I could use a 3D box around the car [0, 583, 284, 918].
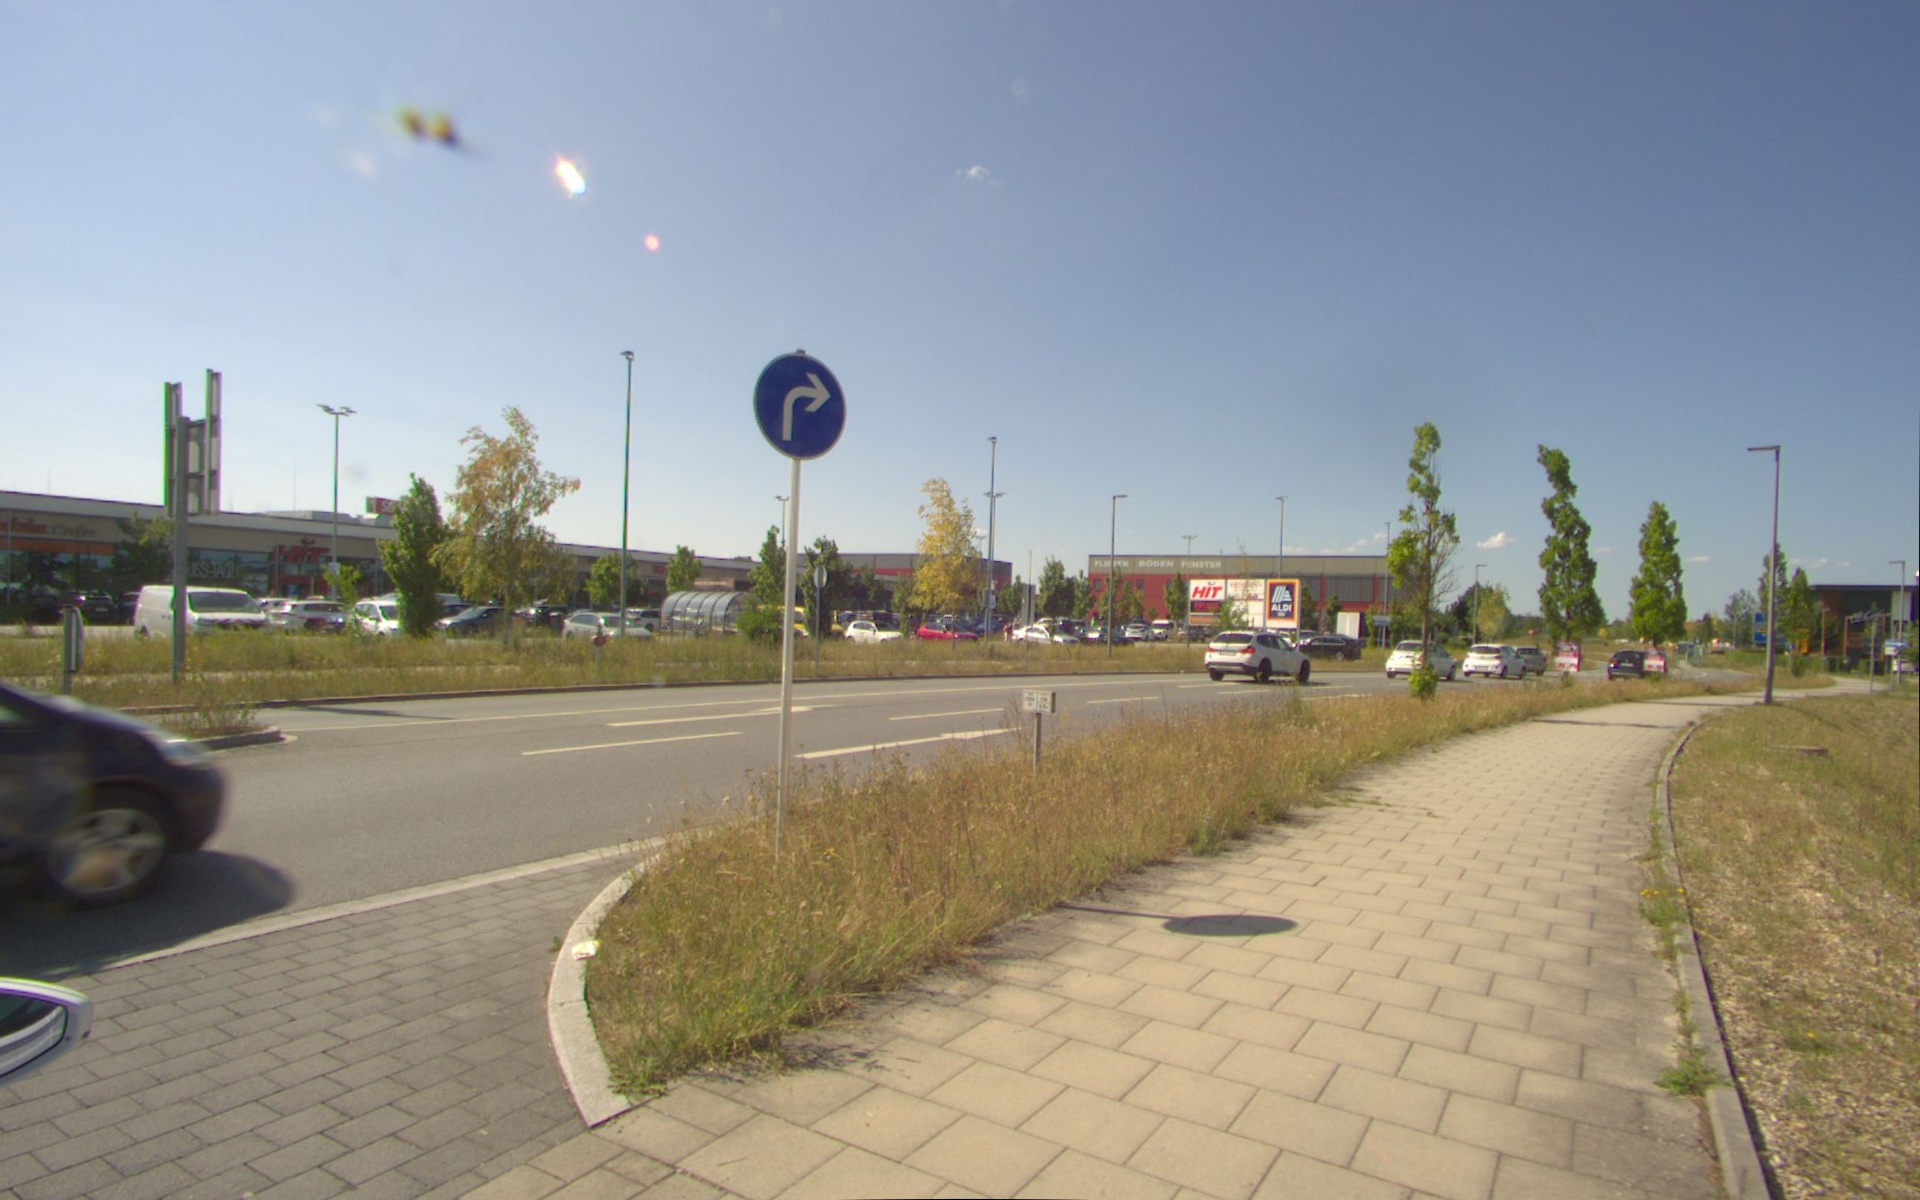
[{"bbox_3d":[-5.703,0.666,4.606,1.970,1.570,3.825,2,-1,31],"label":"car"}]

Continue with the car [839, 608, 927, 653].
[{"bbox_3d":[-3.886,1.514,49.943,4.363,2.039,1.927,1,-1,44],"label":"car"}]

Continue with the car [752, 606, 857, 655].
[{"bbox_3d":[-7.211,1.384,46.168,5.061,2.040,2.146,1,-1,44],"label":"car"}]

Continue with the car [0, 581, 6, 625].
[{"bbox_3d":[-35.015,0.046,33.760,1.704,1.528,3.792,2,-1,27],"label":"car"}]

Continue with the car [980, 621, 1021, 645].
[{"bbox_3d":[3.644,2.996,90.071,1.968,2.064,4.470,1,-1,27],"label":"car"}]

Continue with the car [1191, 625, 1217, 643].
[{"bbox_3d":[28.850,4.063,118.213,1.968,2.064,4.470,1,-1,27],"label":"car"}]

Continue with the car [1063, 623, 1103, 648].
[{"bbox_3d":[10.720,3.111,86.984,1.968,2.064,4.470,1,-1,27],"label":"car"}]

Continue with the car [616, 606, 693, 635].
[{"bbox_3d":[-17.678,1.226,58.091,1.630,1.539,4.333,1,-2,29],"label":"car"}]

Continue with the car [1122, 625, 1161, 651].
[{"bbox_3d":[15.271,3.156,83.955,1.968,2.064,4.470,1,-1,27],"label":"car"}]

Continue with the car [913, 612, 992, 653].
[{"bbox_3d":[-0.454,1.709,53.384,1.865,2.039,4.097,3,-1,-44],"label":"car"}]

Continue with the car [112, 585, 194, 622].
[{"bbox_3d":[-41.248,0.164,51.157,3.940,1.729,1.991,2,0,31],"label":"car"}]

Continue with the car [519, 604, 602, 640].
[{"bbox_3d":[-24.670,1.403,61.967,1.971,2.129,4.464,1,-2,31],"label":"car"}]

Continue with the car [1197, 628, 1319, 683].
[{"bbox_3d":[9.378,1.712,31.276,1.723,1.571,4.530,0,-2,44],"label":"car"}]

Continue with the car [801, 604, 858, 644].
[{"bbox_3d":[-9.620,1.796,74.266,1.968,2.858,4.469,1,-1,27],"label":"car"}]

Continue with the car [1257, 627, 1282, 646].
[{"bbox_3d":[35.343,4.138,114.269,1.968,2.064,4.470,1,-1,27],"label":"car"}]

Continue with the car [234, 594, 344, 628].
[{"bbox_3d":[-29.721,0.506,44.465,1.703,1.409,3.722,2,-1,24],"label":"car"}]

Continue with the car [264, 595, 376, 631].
[{"bbox_3d":[-27.249,0.569,42.758,1.703,1.409,3.722,2,-1,24],"label":"car"}]

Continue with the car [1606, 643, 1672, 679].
[{"bbox_3d":[32.225,2.879,47.469,1.894,1.571,4.350,0,-2,44],"label":"car"}]

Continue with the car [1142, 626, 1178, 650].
[{"bbox_3d":[17.892,3.378,89.400,1.968,2.064,4.470,1,-1,27],"label":"car"}]

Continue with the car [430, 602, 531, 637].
[{"bbox_3d":[-22.665,0.944,47.473,1.846,1.527,3.985,1,-2,28],"label":"car"}]

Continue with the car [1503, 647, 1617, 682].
[{"bbox_3d":[30.133,3.248,50.370,4.669,1.571,1.947,2,-1,-5],"label":"car"}]

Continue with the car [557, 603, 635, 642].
[{"bbox_3d":[-21.945,1.396,60.572,1.965,2.219,4.476,1,-1,21],"label":"car"}]

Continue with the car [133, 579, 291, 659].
[{"bbox_3d":[-21.184,0.501,28.293,5.157,2.040,2.076,1,-1,35],"label":"car"}]

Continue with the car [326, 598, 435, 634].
[{"bbox_3d":[-24.494,0.677,42.445,1.703,1.409,3.722,2,-1,24],"label":"car"}]

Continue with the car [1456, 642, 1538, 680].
[{"bbox_3d":[23.917,2.697,44.551,4.718,1.571,1.927,3,-2,-45],"label":"car"}]

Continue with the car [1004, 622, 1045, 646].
[{"bbox_3d":[5.732,3.024,88.930,1.968,2.064,4.470,1,-1,27],"label":"car"}]

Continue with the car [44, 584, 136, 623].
[{"bbox_3d":[-42.253,0.179,48.651,3.935,1.729,1.993,2,0,26],"label":"car"}]

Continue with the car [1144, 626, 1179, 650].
[{"bbox_3d":[18.012,3.380,89.353,1.968,2.064,4.470,1,-1,27],"label":"car"}]

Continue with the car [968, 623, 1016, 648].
[{"bbox_3d":[2.431,2.684,75.134,1.968,1.807,4.301,1,-2,27],"label":"car"}]

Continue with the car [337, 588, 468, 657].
[{"bbox_3d":[-18.183,0.705,32.546,5.056,2.040,2.148,1,-1,42],"label":"car"}]

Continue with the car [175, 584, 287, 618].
[{"bbox_3d":[-32.668,0.055,44.967,1.703,1.409,3.722,2,-1,24],"label":"car"}]

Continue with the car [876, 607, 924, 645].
[{"bbox_3d":[-4.643,2.047,78.333,1.965,2.858,4.476,1,-1,21],"label":"car"}]

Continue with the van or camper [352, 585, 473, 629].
[{"bbox_3d":[-27.298,0.366,50.110,1.969,2.040,5.031,2,-1,29],"label":"van or camper"}]

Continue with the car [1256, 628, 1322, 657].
[{"bbox_3d":[25.266,3.248,77.019,4.429,2.064,1.986,0,-1,39],"label":"car"}]

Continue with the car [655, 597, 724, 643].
[{"bbox_3d":[-17.517,1.323,65.046,1.965,2.858,4.476,1,-1,21],"label":"car"}]

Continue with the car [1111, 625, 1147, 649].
[{"bbox_3d":[15.311,3.341,90.704,1.968,2.064,4.470,1,-1,27],"label":"car"}]

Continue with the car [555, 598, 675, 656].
[{"bbox_3d":[-13.396,1.006,38.685,5.056,2.040,2.148,1,-1,42],"label":"car"}]

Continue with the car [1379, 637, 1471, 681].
[{"bbox_3d":[18.121,2.282,38.977,3.740,1.571,1.728,3,-2,-38],"label":"car"}]
